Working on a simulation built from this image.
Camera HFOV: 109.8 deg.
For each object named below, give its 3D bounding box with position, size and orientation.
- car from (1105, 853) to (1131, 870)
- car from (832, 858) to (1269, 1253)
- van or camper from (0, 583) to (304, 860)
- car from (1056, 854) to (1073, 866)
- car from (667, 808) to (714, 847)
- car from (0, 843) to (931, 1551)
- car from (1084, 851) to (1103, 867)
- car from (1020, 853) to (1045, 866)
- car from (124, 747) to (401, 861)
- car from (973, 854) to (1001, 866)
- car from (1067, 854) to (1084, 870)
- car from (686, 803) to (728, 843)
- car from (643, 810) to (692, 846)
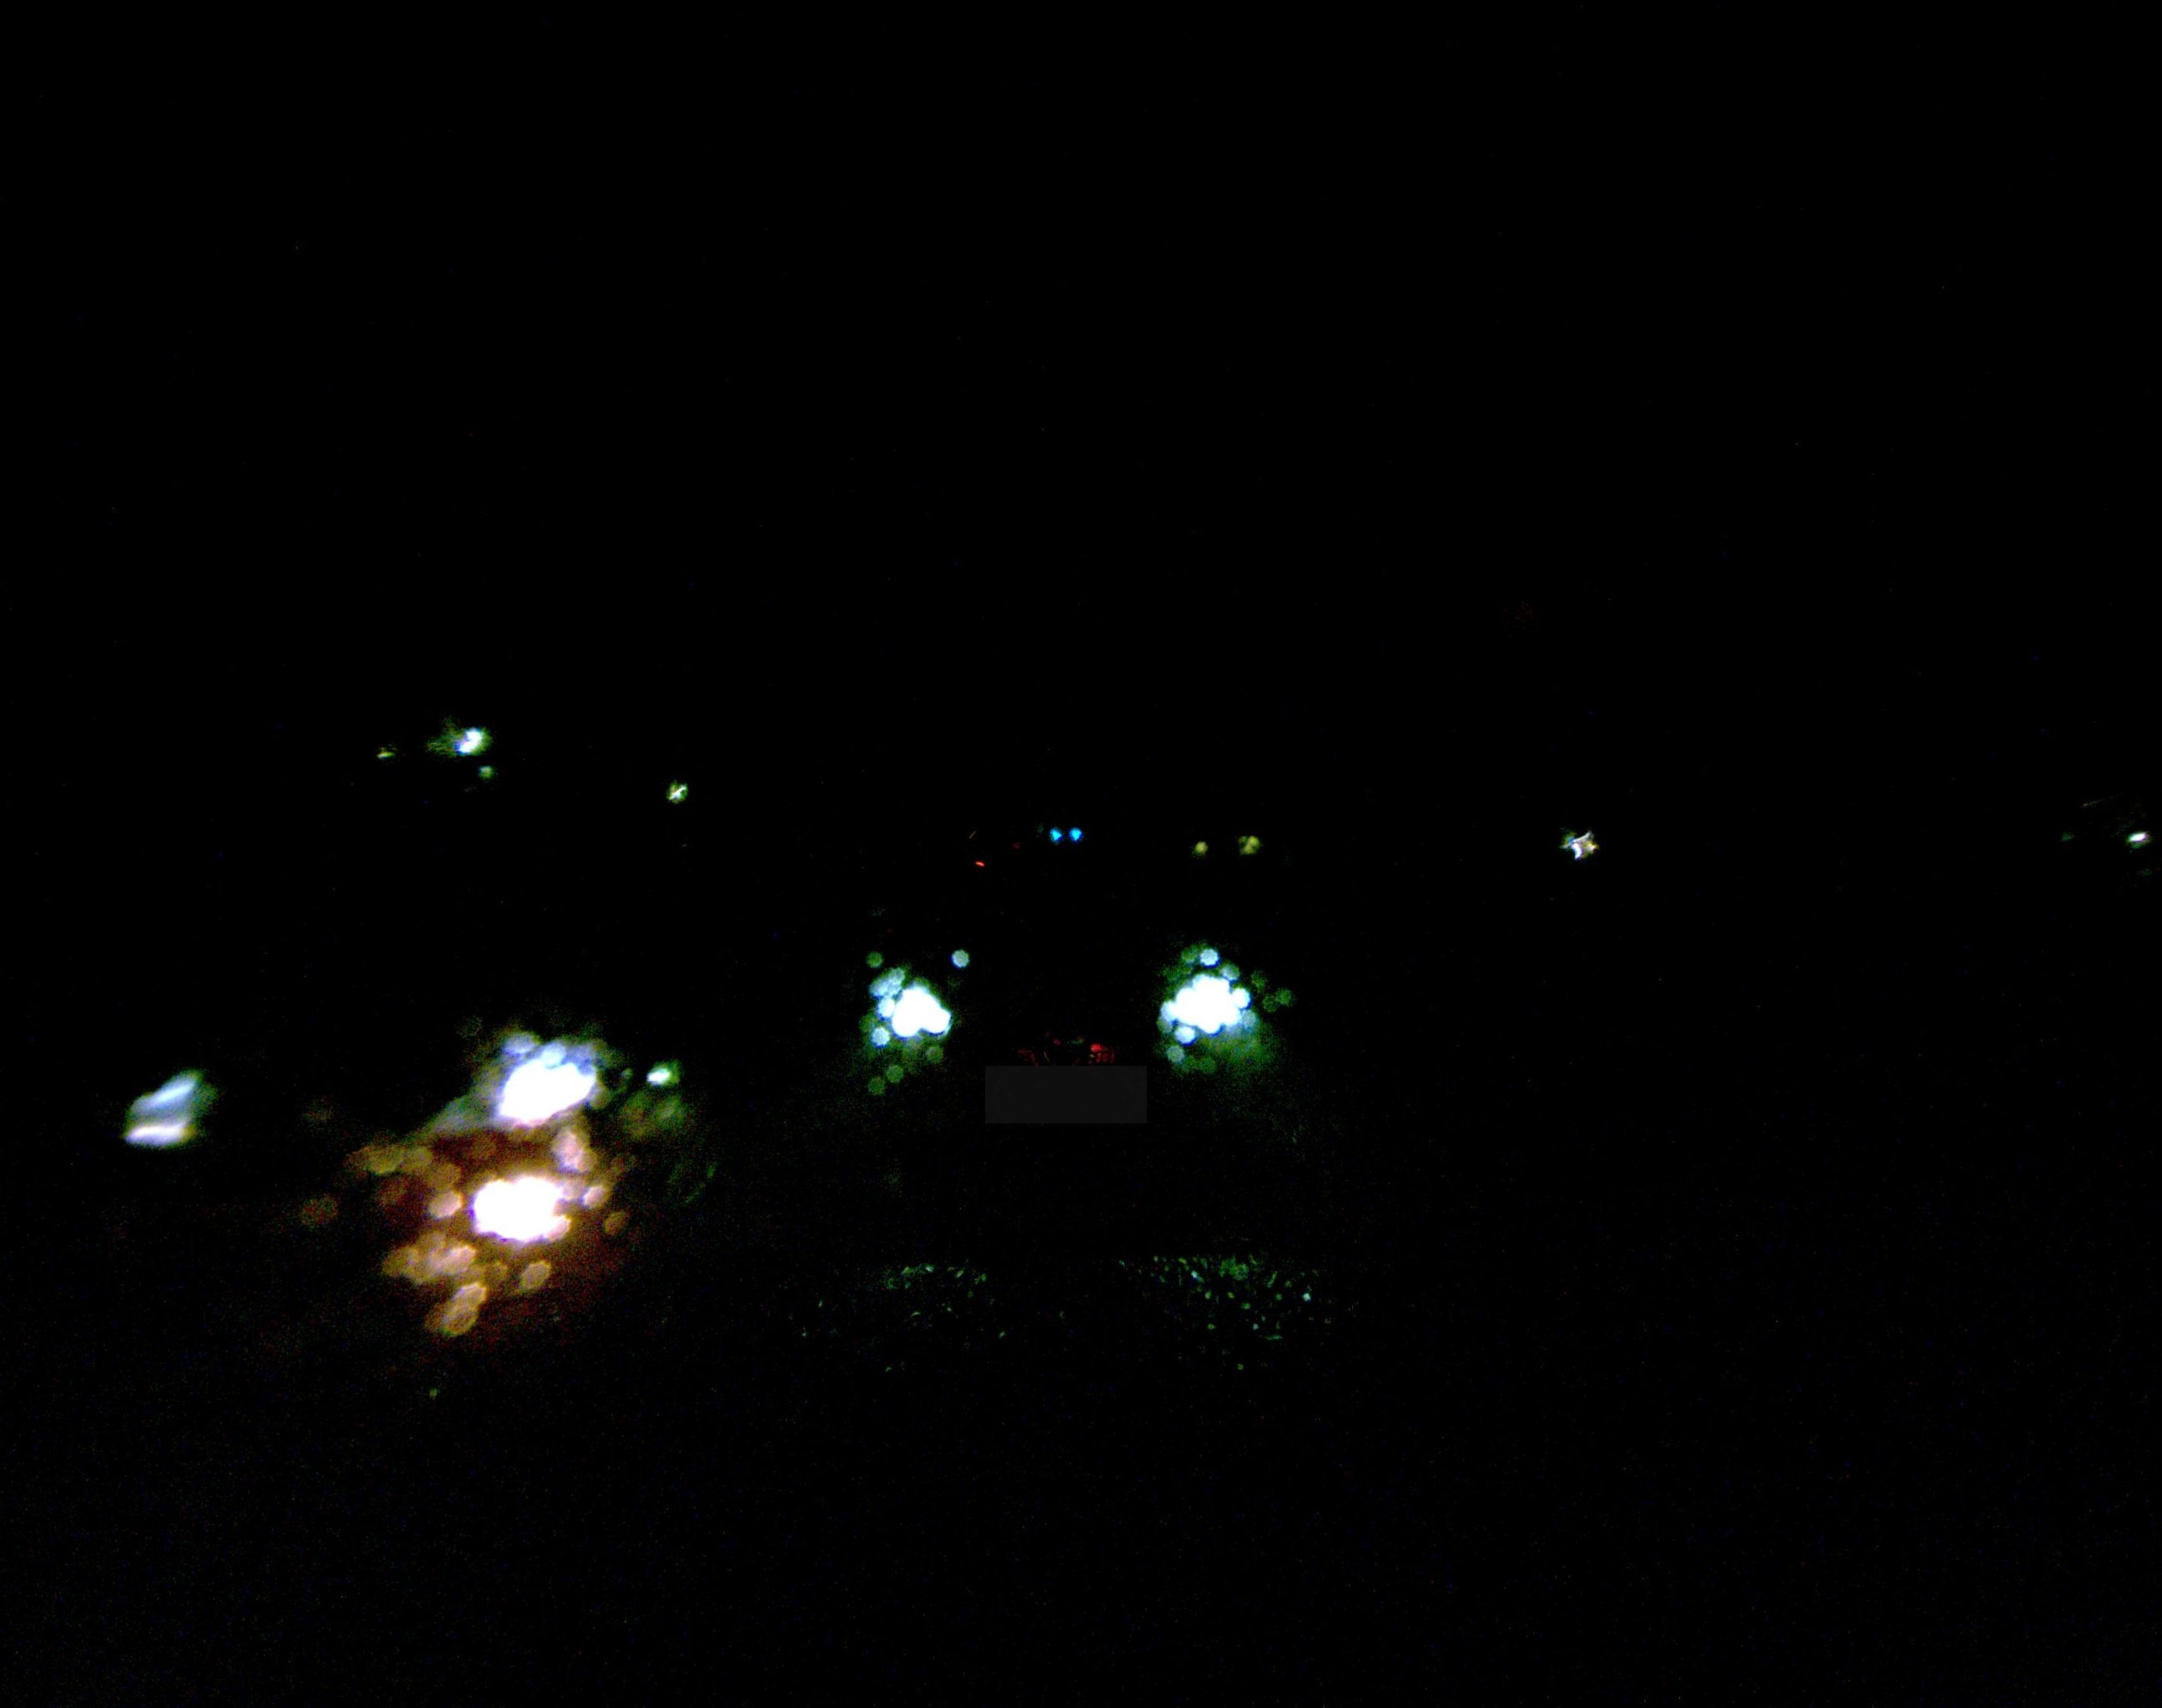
[{"bbox_3d":[3.514,0.761,73.163,1.893,1.559,4.484,-1,-1,-6],"label":"car"},{"bbox_3d":[-0.100,0.885,5.457,1.826,1.573,4.354,-2,1,1],"label":"car"},{"bbox_3d":[-12.772,-1.363,9.046,2.417,2.777,5.763,-3,1,-18],"label":"van or camper"},{"bbox_3d":[-2.569,0.941,118.182,2.000,1.687,3.996,-3,1,-11],"label":"car"},{"bbox_3d":[-26.320,-1.752,51.347,1.937,2.406,4.249,-3,1,-16],"label":"car"},{"bbox_3d":[-2.552,0.842,4.393,1.838,1.725,4.943,-2,1,6],"label":"car"},{"bbox_3d":[1.682,0.646,105.045,2.091,2.002,4.710,-2,1,-6],"label":"car"},{"bbox_3d":[-8.379,0.972,131.497,3.989,2.002,2.004,-2,1,45],"label":"car"},{"bbox_3d":[-16.396,-0.927,15.596,2.001,2.002,3.994,-3,1,-16],"label":"car"},{"bbox_3d":[-16.926,1.021,137.137,4.700,2.002,2.095,-1,1,32],"label":"car"},{"bbox_3d":[-0.755,1.085,102.973,1.999,2.002,3.998,-2,1,-4],"label":"car"},{"bbox_3d":[-27.777,-2.229,56.549,1.937,2.759,4.249,-3,1,-16],"label":"car"},{"bbox_3d":[-25.007,-1.541,46.060,1.735,2.002,3.696,-3,1,-16],"label":"car"}]
